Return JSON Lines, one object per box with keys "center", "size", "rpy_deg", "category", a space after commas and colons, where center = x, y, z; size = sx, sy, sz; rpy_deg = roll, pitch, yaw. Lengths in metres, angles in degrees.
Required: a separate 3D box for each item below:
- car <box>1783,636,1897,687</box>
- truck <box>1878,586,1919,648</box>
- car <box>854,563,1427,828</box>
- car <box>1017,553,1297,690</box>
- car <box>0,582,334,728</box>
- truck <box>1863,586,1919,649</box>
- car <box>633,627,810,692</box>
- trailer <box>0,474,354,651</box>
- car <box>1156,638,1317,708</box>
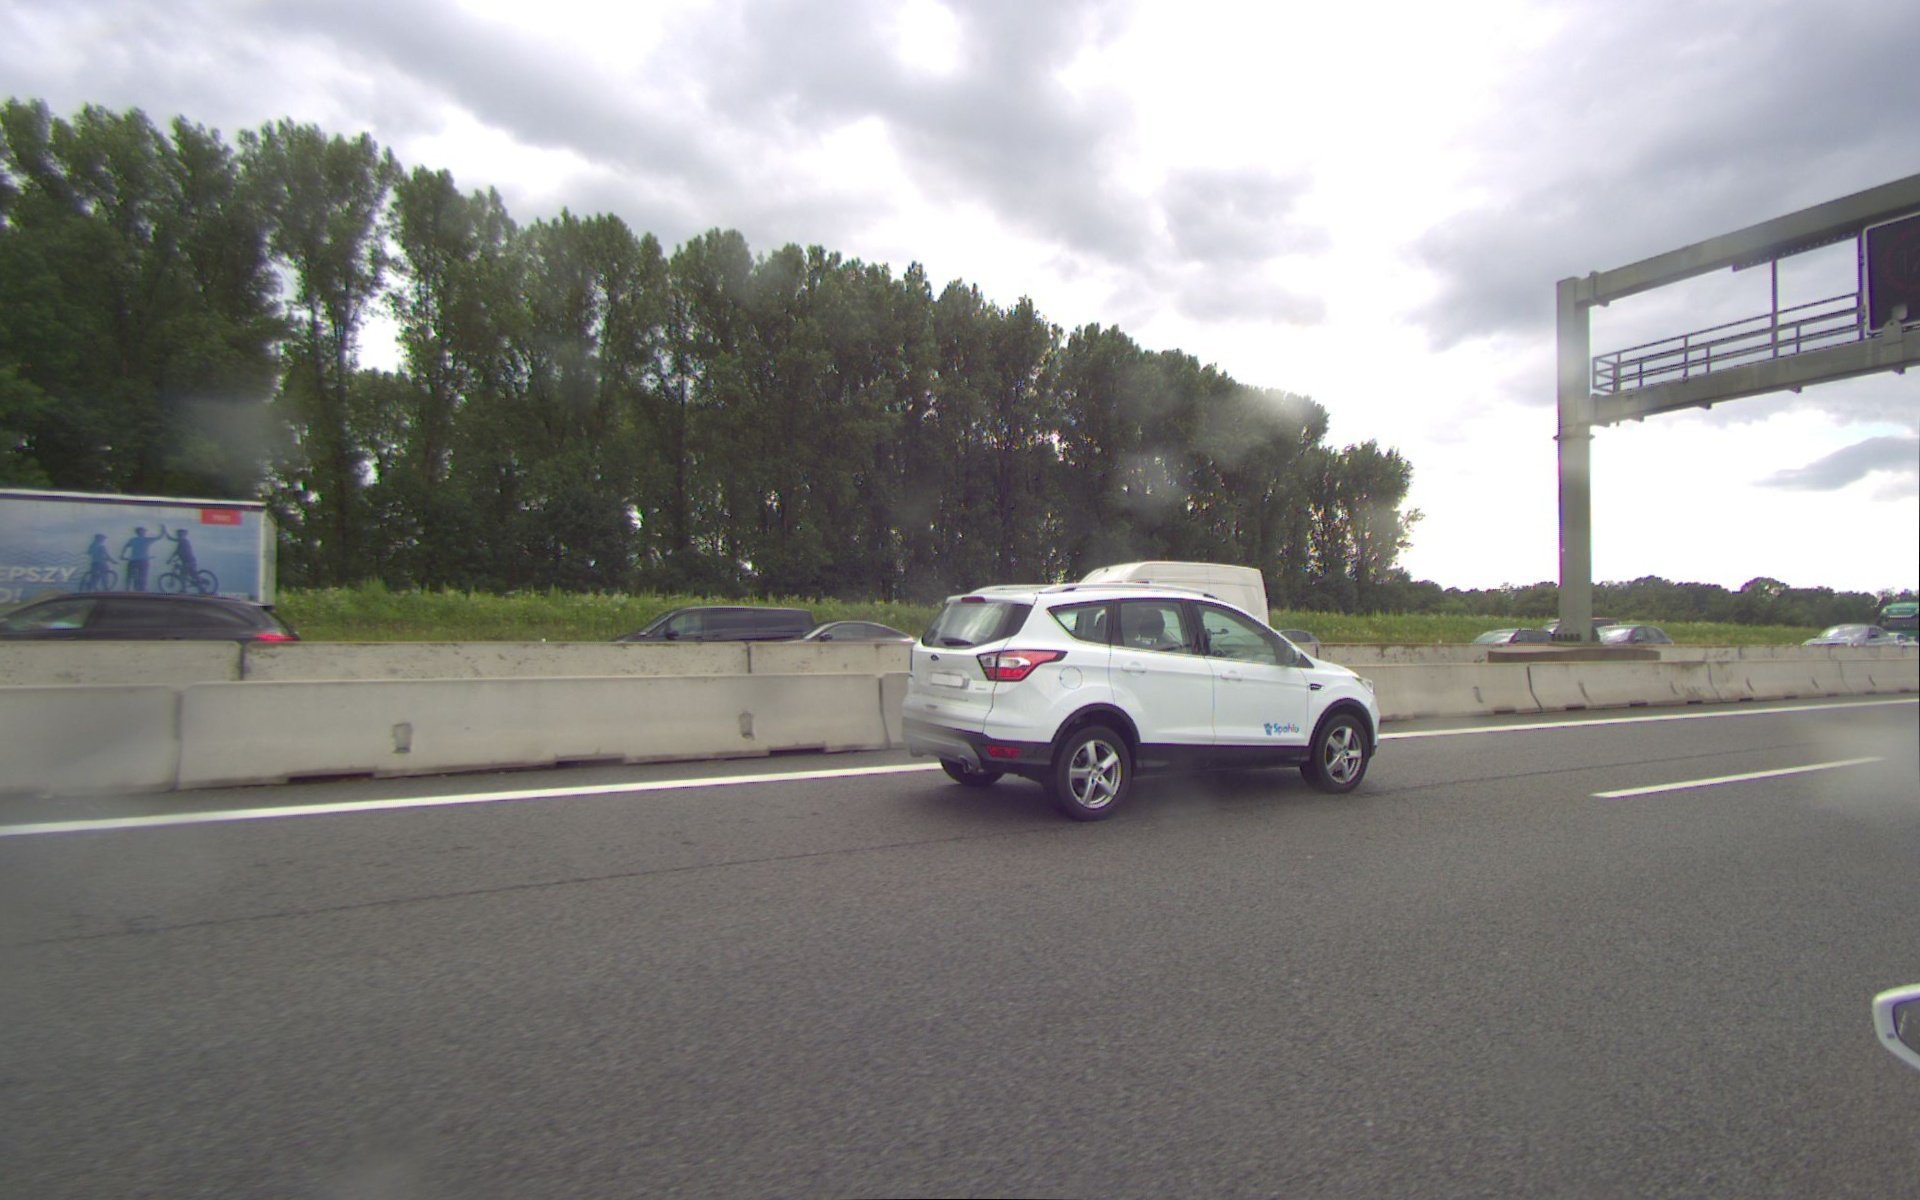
{"center": [35.639, 2.436, 40.649], "size": [5.126, 1.910, 1.984], "rpy_deg": [1, -1, -31], "category": "car"}
{"center": [73.655, 1.315, 75.235], "size": [13.784, 4.370, 3.133], "rpy_deg": [1, 0, -30], "category": "truck"}
{"center": [1.658, 0.656, 8.506], "size": [4.795, 1.712, 1.806], "rpy_deg": [1, -1, -31], "category": "car"}
{"center": [4.392, 0.466, 21.845], "size": [6.269, 2.651, 1.984], "rpy_deg": [1, 0, -31], "category": "car"}
{"center": [-10.485, 0.655, 12.988], "size": [3.953, 1.679, 1.860], "rpy_deg": [1, -1, -30], "category": "car"}
{"center": [67.765, 1.249, 71.793], "size": [5.839, 4.338, 3.105], "rpy_deg": [1, -1, -29], "category": "truck"}
{"center": [-5.922, 1.431, 24.994], "size": [3.953, 1.483, 1.785], "rpy_deg": [1, -1, -30], "category": "car"}
{"center": [-21.016, -0.760, 20.911], "size": [14.285, 3.554, 3.094], "rpy_deg": [1, -1, -31], "category": "trailer"}
{"center": [9.103, 2.315, 32.908], "size": [5.341, 2.040, 1.984], "rpy_deg": [1, -1, -31], "category": "car"}
